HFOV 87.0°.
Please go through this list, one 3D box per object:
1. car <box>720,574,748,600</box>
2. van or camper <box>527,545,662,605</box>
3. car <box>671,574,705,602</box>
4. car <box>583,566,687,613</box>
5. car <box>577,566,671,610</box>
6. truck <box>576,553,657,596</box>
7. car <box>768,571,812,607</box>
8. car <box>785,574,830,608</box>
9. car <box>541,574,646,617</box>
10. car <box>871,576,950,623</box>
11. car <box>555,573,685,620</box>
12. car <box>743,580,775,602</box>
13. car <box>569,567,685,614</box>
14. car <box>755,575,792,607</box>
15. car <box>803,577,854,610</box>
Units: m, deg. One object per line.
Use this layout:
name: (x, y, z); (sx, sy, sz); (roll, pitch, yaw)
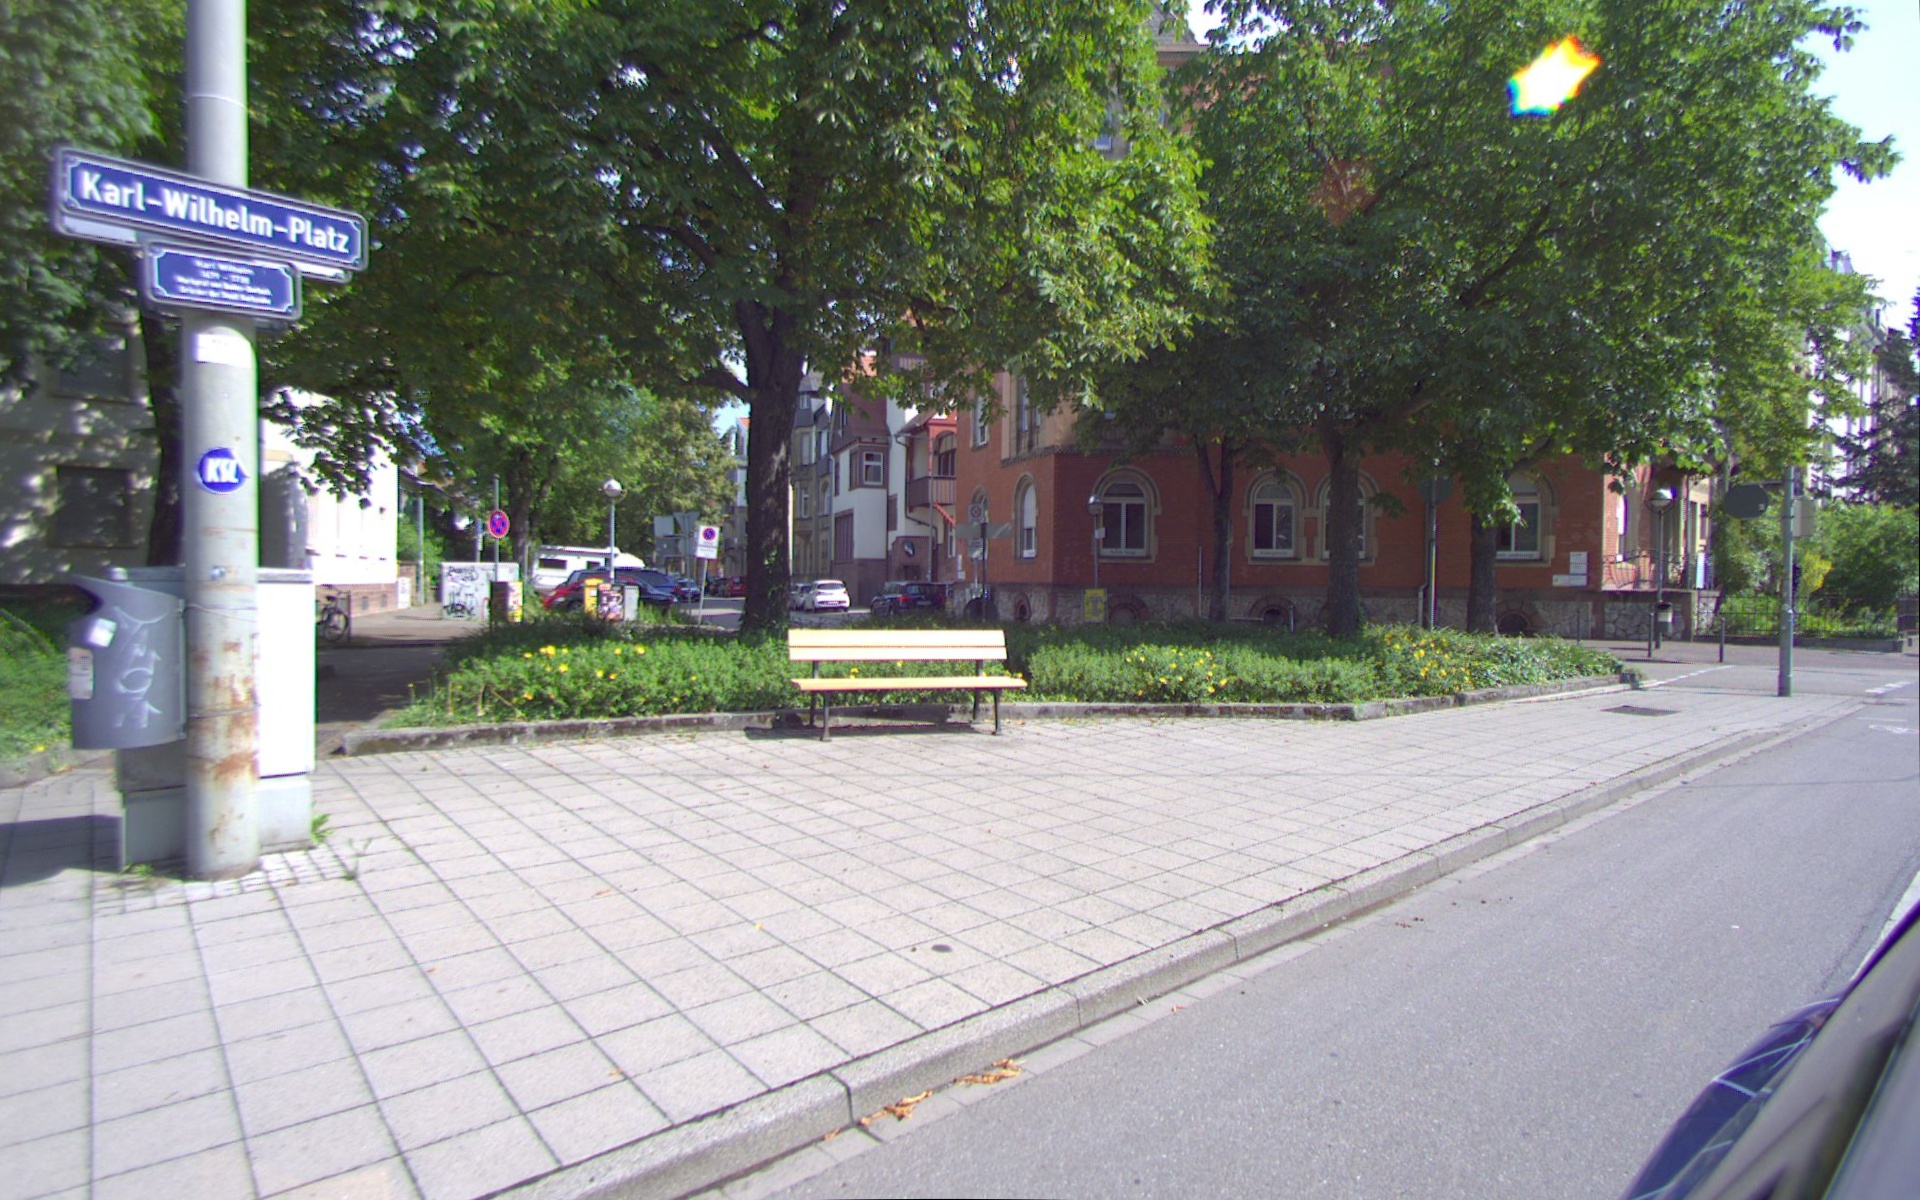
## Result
car: (-18.216, -1.003, 81.526); (1.702, 1.950, 3.948); (-1, -1, -20)
van or camper: (-19.575, -1.318, 54.430); (6.690, 3.076, 2.126); (0, 1, -20)
car: (-18.237, -0.768, 67.812); (1.896, 1.754, 3.838); (-1, -1, -19)
car: (-13.151, -0.409, 40.935); (3.916, 1.816, 1.982); (0, 1, -20)
car: (-14.976, -0.548, 45.108); (3.916, 1.883, 1.852); (0, 1, -21)
truck: (-24.494, -1.826, 72.325); (5.437, 2.970, 2.004); (0, 1, -18)
car: (-9.628, -0.649, 57.045); (1.742, 1.927, 4.009); (0, 1, -20)
car: (-7.942, -0.494, 52.523); (1.689, 1.727, 4.009); (0, 1, -17)
car: (-12.730, -0.171, 35.147); (3.342, 1.440, 1.566); (0, 1, -22)
car: (-1.779, -0.056, 34.813); (1.896, 1.504, 4.009); (0, 1, -15)
car: (-11.117, -0.132, 33.095); (3.916, 1.460, 1.806); (0, 1, -22)
car: (-13.557, -0.617, 68.149); (1.647, 1.426, 3.797); (0, 1, -18)
car: (-12.583, -0.364, 38.194); (4.040, 1.705, 1.856); (0, 1, -22)
car: (-11.494, -0.574, 62.260); (1.690, 1.861, 3.676); (0, 1, -20)
car: (-6.268, -0.333, 47.905); (1.831, 1.504, 4.009); (0, 1, -15)
